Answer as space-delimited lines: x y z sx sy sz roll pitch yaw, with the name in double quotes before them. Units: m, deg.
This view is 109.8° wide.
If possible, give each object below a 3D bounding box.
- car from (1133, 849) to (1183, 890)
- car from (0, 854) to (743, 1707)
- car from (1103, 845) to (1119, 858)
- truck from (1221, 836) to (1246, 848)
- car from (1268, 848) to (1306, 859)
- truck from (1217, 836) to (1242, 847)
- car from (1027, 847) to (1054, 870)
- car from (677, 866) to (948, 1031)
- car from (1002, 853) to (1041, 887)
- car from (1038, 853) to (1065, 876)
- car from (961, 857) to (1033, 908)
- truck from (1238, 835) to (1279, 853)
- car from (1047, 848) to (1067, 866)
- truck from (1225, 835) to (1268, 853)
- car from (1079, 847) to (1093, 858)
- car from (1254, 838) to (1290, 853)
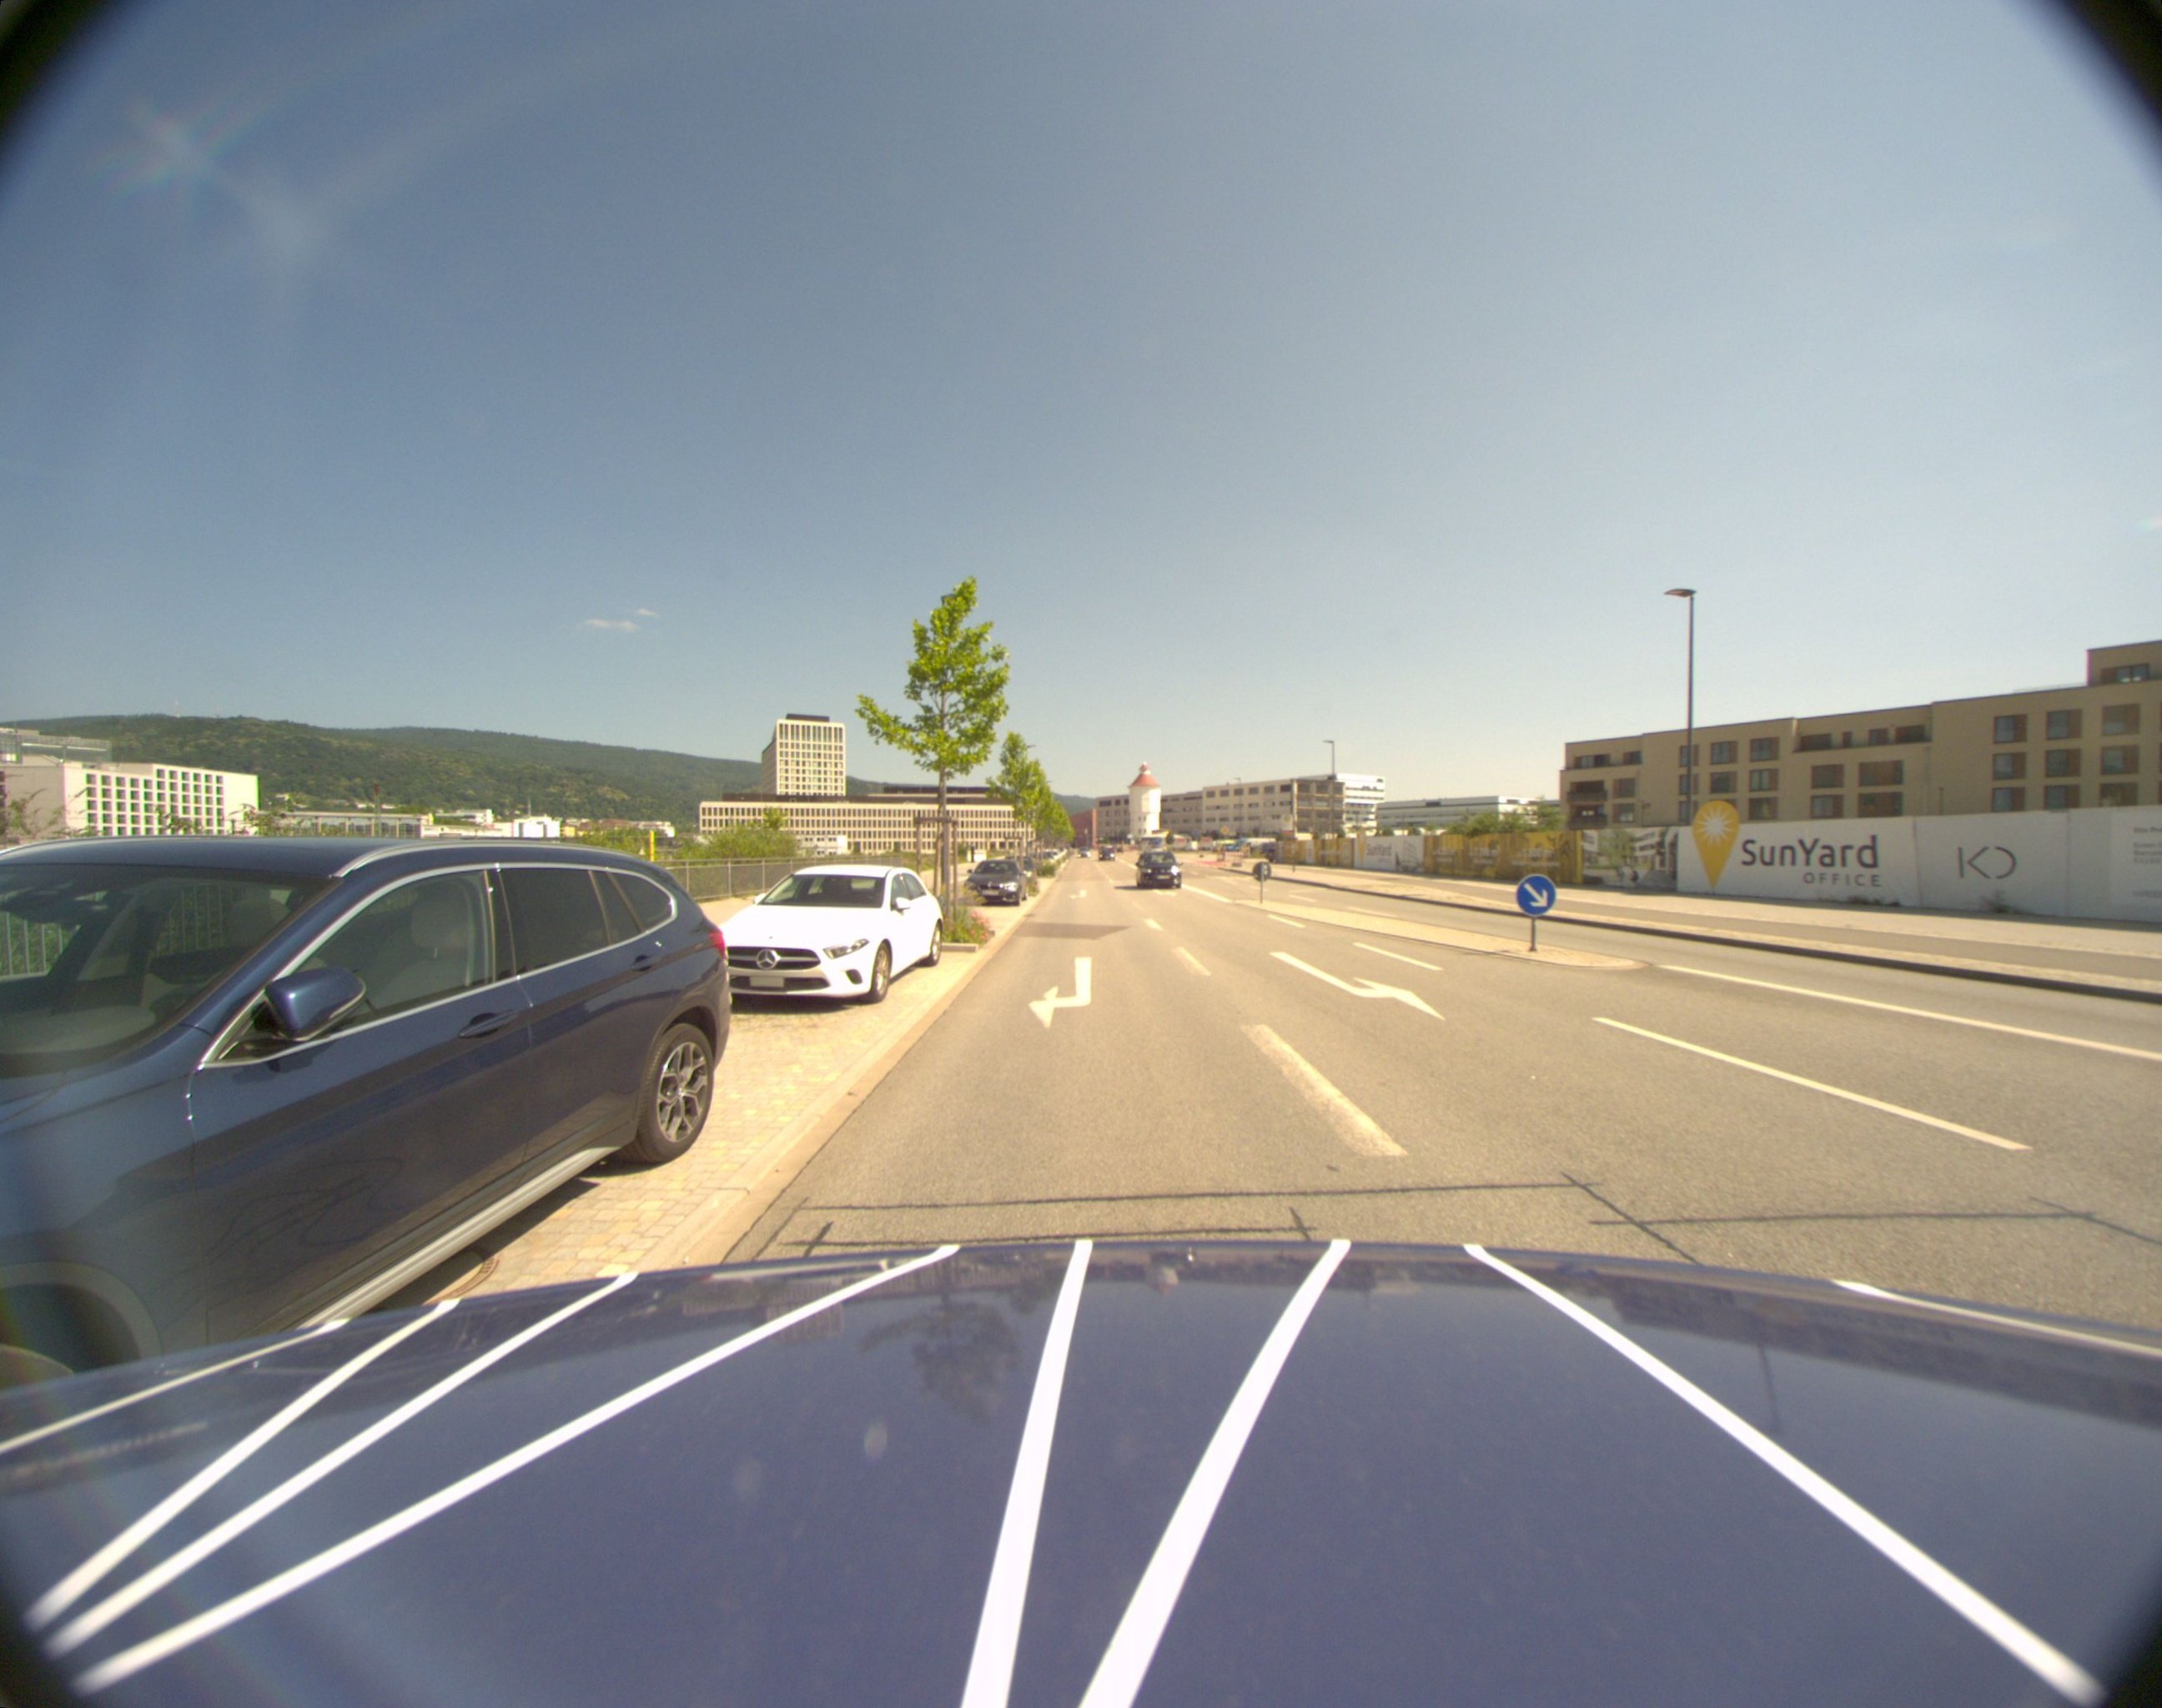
"car" 3.299 0.628 33.160 1.808 1.613 3.916 -1 1 0
"car" -2.918 0.878 2.342 1.808 1.673 4.270 1 1 0
"car" 3.361 -0.263 85.607 1.709 1.404 4.000 -1 1 1
"truck" 35.003 -2.685 174.271 5.333 2.461 1.999 -2 1 -4
"car" 20.235 -0.024 74.619 3.359 0.947 1.293 -2 1 3
"truck" 35.558 -2.998 181.933 5.412 2.461 1.999 -2 1 -1
"car" -3.066 0.316 57.934 1.768 1.609 3.374 -3 1 0
"car" -2.895 0.920 9.264 1.710 1.366 4.270 2 1 0
"car" -2.776 0.729 35.874 1.569 1.465 3.006 2 1 0
"car" -1.805 0.639 47.566 1.490 1.302 3.155 2 1 0
"car" -2.646 0.863 24.762 1.808 1.424 3.916 2 1 0
"truck" 23.947 -1.327 102.708 5.004 2.215 1.999 -2 1 -1
"car" -2.122 0.270 67.560 1.525 1.482 3.504 -3 1 0
"truck" 23.973 -1.457 110.093 5.633 2.461 1.999 -2 1 -4
"car" 0.743 -0.220 106.883 1.819 1.458 4.346 -2 1 1
"car" 23.452 -1.017 93.402 3.930 1.708 1.891 -2 1 -5
